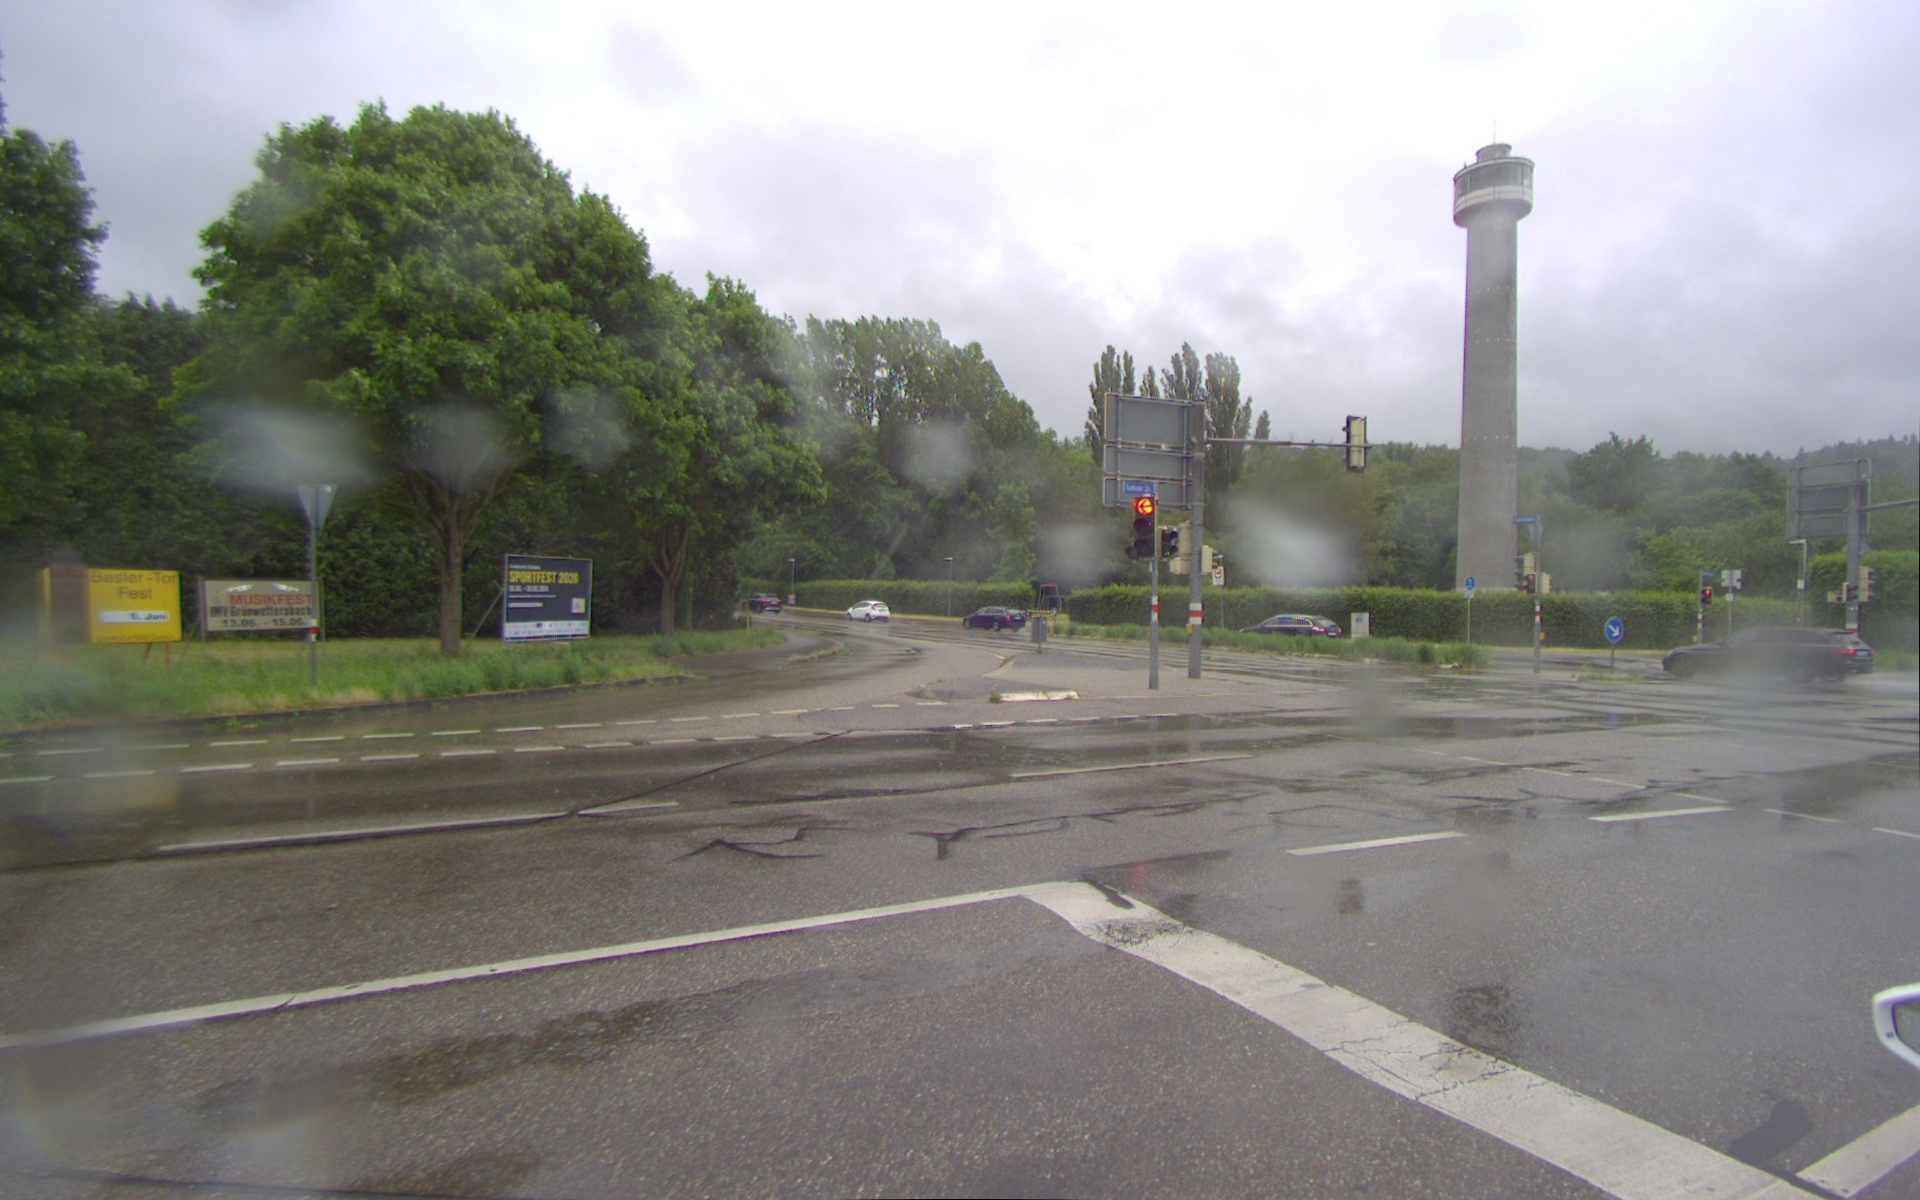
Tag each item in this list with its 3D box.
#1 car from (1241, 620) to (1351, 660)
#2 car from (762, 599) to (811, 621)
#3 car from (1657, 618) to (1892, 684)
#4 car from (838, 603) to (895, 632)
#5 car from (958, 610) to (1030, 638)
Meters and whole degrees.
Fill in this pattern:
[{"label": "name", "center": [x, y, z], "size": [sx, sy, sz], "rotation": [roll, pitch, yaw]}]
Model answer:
[{"label": "car", "center": [14.415, 1.667, 43.376], "size": [1.798, 1.574, 4.655], "rotation": [1, 0, -25]}, {"label": "car", "center": [-13.883, 0.772, 80.246], "size": [1.807, 1.661, 4.631], "rotation": [1, -1, -39]}, {"label": "car", "center": [21.915, 1.316, 27.276], "size": [1.799, 1.574, 4.653], "rotation": [1, 0, -26]}, {"label": "car", "center": [-6.668, 1.223, 71.393], "size": [1.897, 1.941, 4.635], "rotation": [1, -1, -37]}, {"label": "car", "center": [1.990, 1.434, 60.136], "size": [1.806, 1.574, 4.633], "rotation": [1, -1, -38]}]
